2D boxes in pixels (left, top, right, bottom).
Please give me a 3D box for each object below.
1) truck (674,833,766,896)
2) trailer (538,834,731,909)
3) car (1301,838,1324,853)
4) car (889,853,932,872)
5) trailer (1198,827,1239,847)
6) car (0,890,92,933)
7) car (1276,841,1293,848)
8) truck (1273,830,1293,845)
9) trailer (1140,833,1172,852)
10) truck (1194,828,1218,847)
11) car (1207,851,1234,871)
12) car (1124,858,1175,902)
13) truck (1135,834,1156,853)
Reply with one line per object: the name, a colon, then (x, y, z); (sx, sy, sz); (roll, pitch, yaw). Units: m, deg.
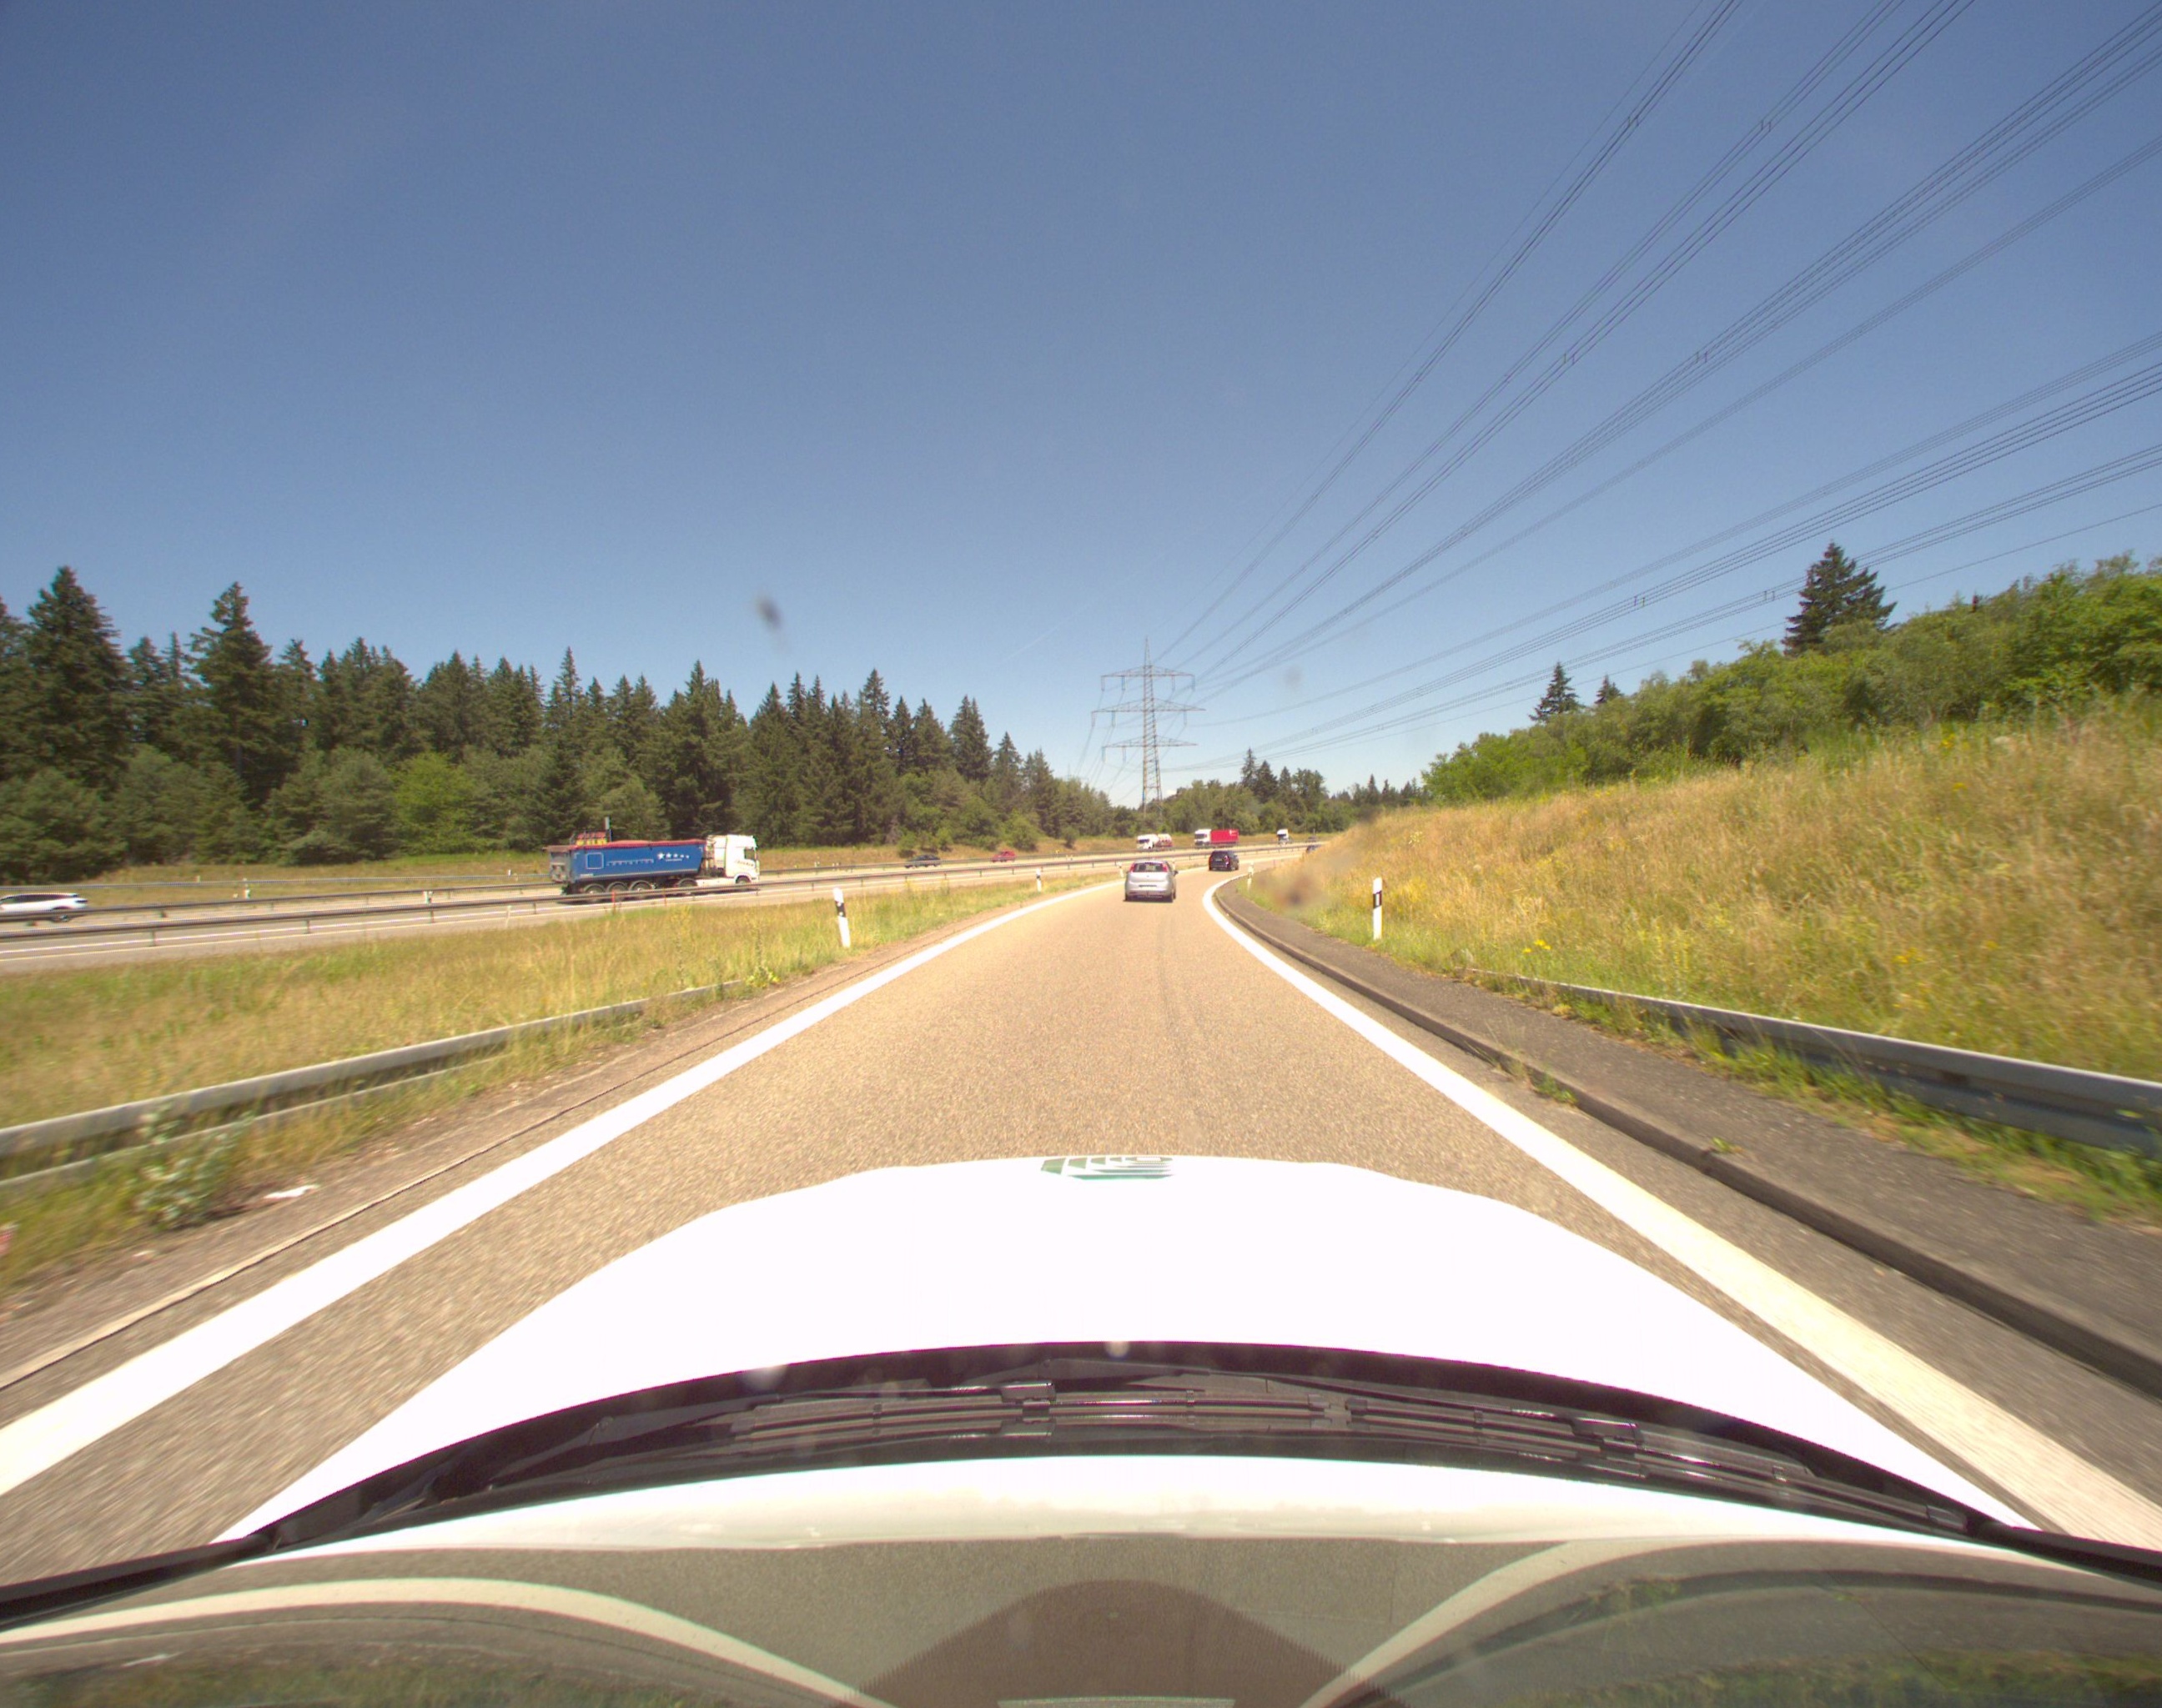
truck: (-23.700, 0.607, 53.671); (2.730, 3.806, 4.652); (0, 3, 34)
trailer: (-26.643, 0.876, 49.302); (2.744, 3.806, 9.950); (-1, 2, 34)
car: (29.073, -1.076, 102.352); (1.864, 1.684, 4.025); (-4, 0, 28)
car: (-19.010, 0.925, 90.875); (1.974, 1.848, 4.387); (-1, 2, 36)
trailer: (29.254, -3.687, 172.668); (2.517, 3.796, 13.831); (-1, 2, 36)
car: (-54.039, 2.963, 41.509); (1.974, 1.848, 4.387); (-1, 2, 36)
car: (45.762, -2.148, 182.927); (1.754, 1.684, 4.856); (-1, 0, 38)
truck: (58.027, -4.787, 233.839); (2.832, 4.344, 7.579); (-1, 0, 36)
trailer: (16.554, -2.499, 179.860); (2.745, 3.797, 8.995); (-1, 2, 36)
truck: (25.752, -3.384, 167.842); (2.517, 3.796, 5.705); (-1, 2, 36)
car: (11.731, 0.579, 68.389); (1.692, 1.676, 3.414); (-1, 0, 19)
car: (2.508, 0.878, 29.190); (1.697, 1.482, 3.404); (1, 0, 7)
truck: (14.084, -2.319, 176.482); (2.740, 3.796, 4.026); (-1, 2, 36)
